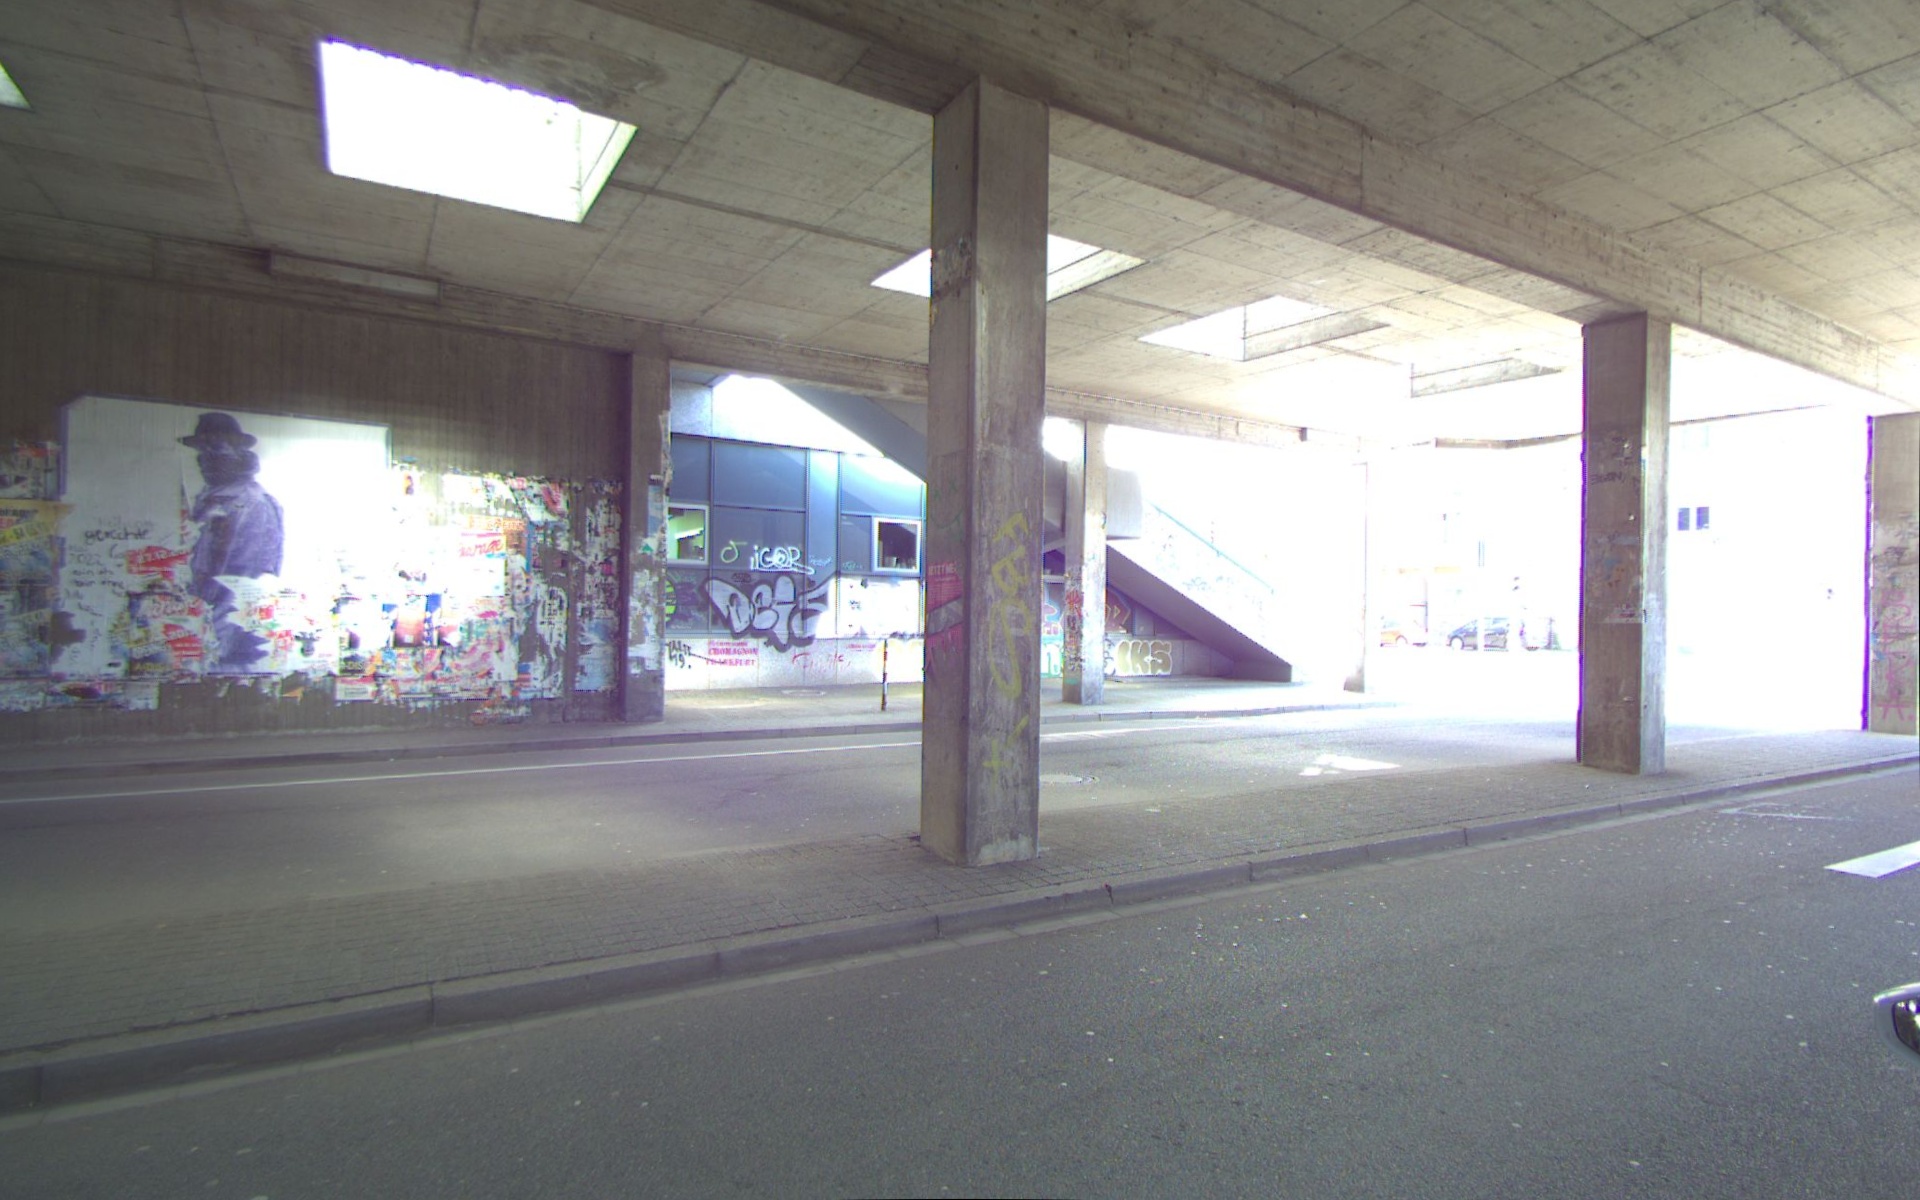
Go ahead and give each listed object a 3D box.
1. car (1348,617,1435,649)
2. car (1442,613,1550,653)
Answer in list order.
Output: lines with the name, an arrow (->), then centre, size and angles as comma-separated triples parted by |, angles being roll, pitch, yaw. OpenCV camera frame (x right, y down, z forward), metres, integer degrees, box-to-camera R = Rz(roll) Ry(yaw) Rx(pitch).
car -> 22.556, 1.674, 52.619 | 1.876, 1.561, 3.861 | 0, 0, -29
car -> 25.400, 1.511, 47.717 | 1.939, 1.747, 4.141 | 0, 0, -29
